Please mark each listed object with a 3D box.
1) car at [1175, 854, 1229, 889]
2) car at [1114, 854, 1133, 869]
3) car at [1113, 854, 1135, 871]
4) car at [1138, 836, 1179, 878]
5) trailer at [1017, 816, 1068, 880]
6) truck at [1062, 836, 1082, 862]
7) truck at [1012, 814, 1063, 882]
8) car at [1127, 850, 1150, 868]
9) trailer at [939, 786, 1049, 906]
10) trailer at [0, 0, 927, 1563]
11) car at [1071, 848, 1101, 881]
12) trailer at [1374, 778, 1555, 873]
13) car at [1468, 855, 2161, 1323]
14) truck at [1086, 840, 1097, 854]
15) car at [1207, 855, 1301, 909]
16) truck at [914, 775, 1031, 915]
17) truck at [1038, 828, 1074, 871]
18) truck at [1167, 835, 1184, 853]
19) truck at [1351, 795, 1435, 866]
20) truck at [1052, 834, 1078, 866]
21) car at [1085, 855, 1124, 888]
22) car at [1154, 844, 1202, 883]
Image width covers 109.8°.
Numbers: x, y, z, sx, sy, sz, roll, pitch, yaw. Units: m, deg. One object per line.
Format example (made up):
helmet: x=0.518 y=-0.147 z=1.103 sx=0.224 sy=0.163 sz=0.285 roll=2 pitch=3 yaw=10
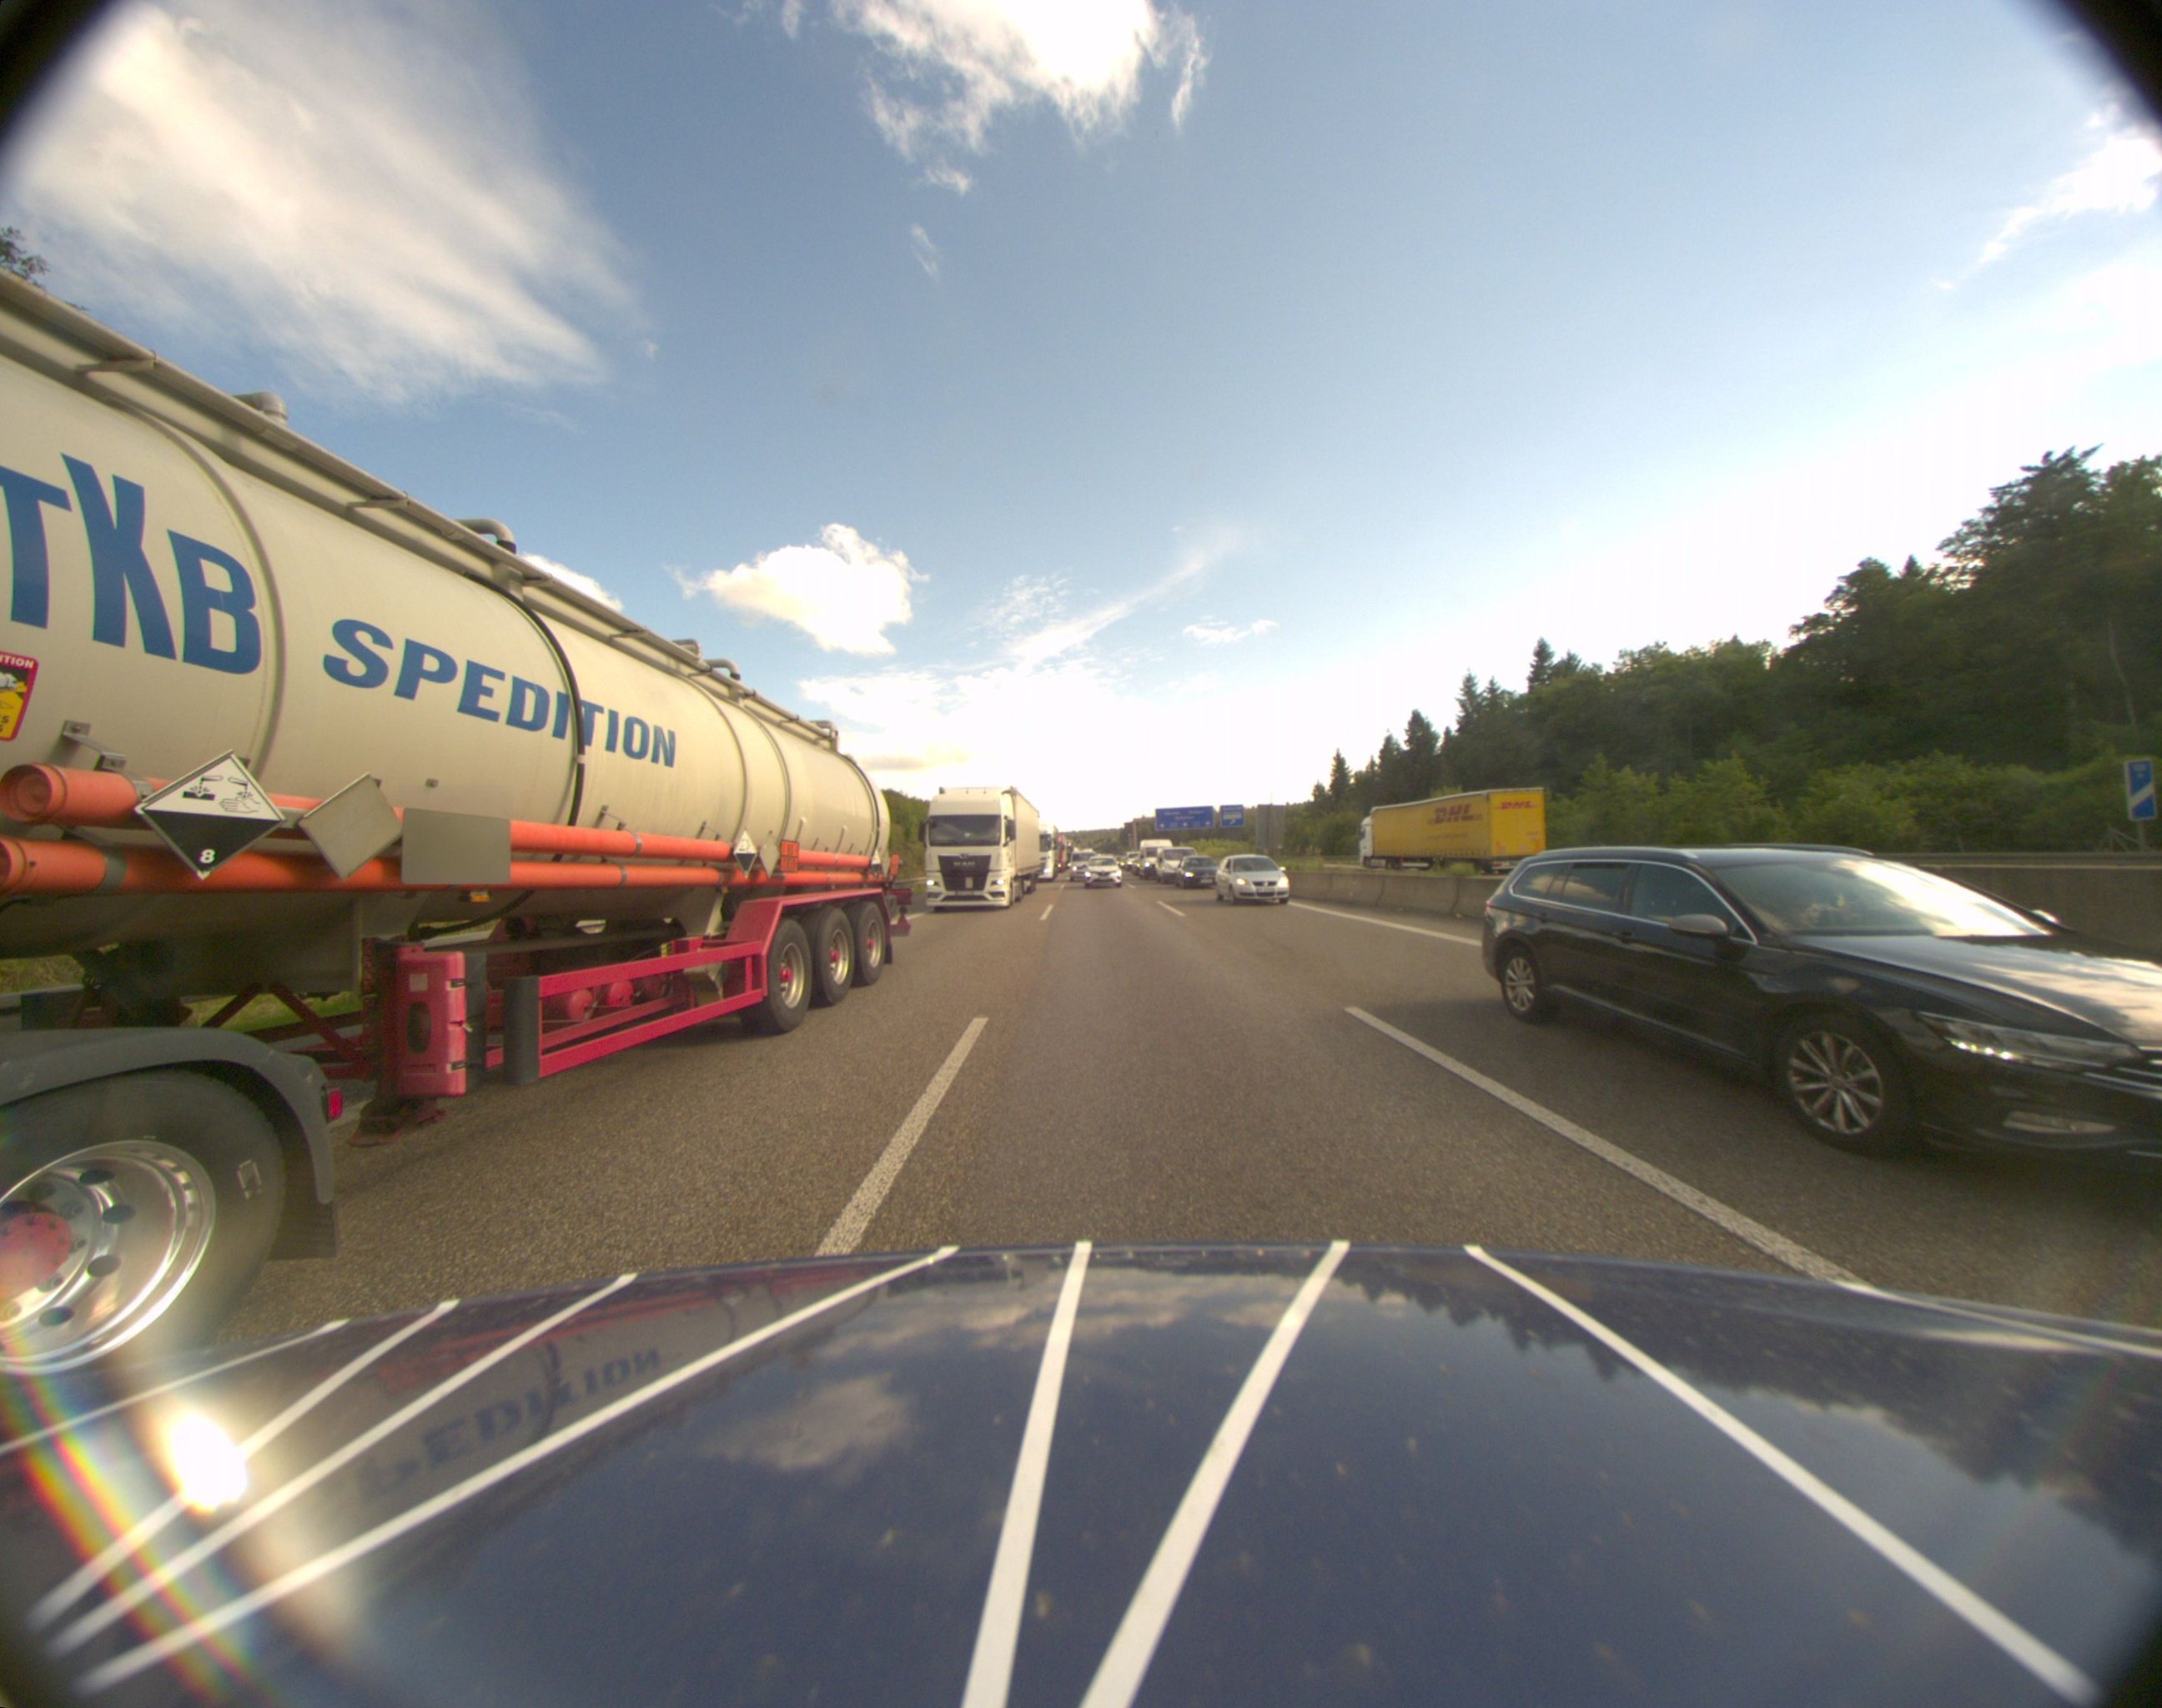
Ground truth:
car: x=5.417 y=0.729 z=34.502 sx=1.809 sy=1.423 sz=3.993 roll=-2 pitch=0 yaw=0
car: x=4.813 y=0.867 z=86.757 sx=1.920 sy=1.535 sz=3.811 roll=-2 pitch=0 yaw=0
car: x=3.990 y=0.797 z=70.537 sx=1.809 sy=1.423 sz=3.660 roll=-2 pitch=0 yaw=0
car: x=4.918 y=0.186 z=49.277 sx=2.054 sy=2.557 sz=5.861 roll=-1 pitch=0 yaw=0
trailer: x=-2.716 y=-0.414 z=58.087 sx=2.841 sy=4.177 sz=13.613 roll=-2 pitch=0 yaw=1
truck: x=-1.576 y=-0.927 z=134.956 sx=2.840 sy=4.178 sz=12.045 roll=-2 pitch=1 yaw=2
truck: x=-2.812 y=-0.379 z=50.770 sx=2.841 sy=4.177 sz=5.707 roll=-2 pitch=0 yaw=1
car: x=5.839 y=0.504 z=77.518 sx=1.920 sy=1.785 sz=3.811 roll=-2 pitch=0 yaw=0
trailer: x=-3.261 y=-0.307 z=32.673 sx=2.833 sy=4.047 sz=13.371 roll=-2 pitch=0 yaw=1
trailer: x=-4.030 y=-0.241 z=6.509 sx=2.805 sy=4.003 sz=11.182 roll=-2 pitch=0 yaw=1
car: x=0.317 y=0.653 z=50.062 sx=1.809 sy=2.052 sz=4.769 roll=-2 pitch=0 yaw=0
trailer: x=19.963 y=-1.356 z=41.140 sx=2.841 sy=4.178 sz=13.560 roll=-2 pitch=1 yaw=0
car: x=4.484 y=0.782 z=4.753 sx=1.915 sy=1.469 sz=4.569 roll=-2 pitch=0 yaw=2
truck: x=3.208 y=-2.239 z=232.916 sx=2.840 sy=4.178 sz=12.045 roll=-2 pitch=1 yaw=2
car: x=5.210 y=0.775 z=23.529 sx=1.809 sy=1.423 sz=4.666 roll=-2 pitch=0 yaw=0
truck: x=-3.394 y=-0.274 z=25.319 sx=2.841 sy=4.048 sz=5.707 roll=-2 pitch=0 yaw=1
truck: x=-2.580 y=-0.547 z=82.263 sx=2.840 sy=4.178 sz=12.045 roll=-2 pitch=1 yaw=2
truck: x=22.656 y=-2.449 z=182.250 sx=2.840 sy=4.178 sz=12.045 roll=-2 pitch=1 yaw=2
truck: x=19.941 y=-1.426 z=48.964 sx=2.841 sy=4.178 sz=6.078 roll=-2 pitch=1 yaw=0
truck: x=-2.165 y=-0.586 z=107.245 sx=2.840 sy=4.178 sz=12.045 roll=-2 pitch=1 yaw=2
car: x=1.134 y=0.837 z=38.646 sx=1.809 sy=1.487 sz=4.666 roll=-2 pitch=0 yaw=0
car: x=5.236 y=0.477 z=41.503 sx=1.947 sy=1.953 sz=4.847 roll=-2 pitch=0 yaw=0
